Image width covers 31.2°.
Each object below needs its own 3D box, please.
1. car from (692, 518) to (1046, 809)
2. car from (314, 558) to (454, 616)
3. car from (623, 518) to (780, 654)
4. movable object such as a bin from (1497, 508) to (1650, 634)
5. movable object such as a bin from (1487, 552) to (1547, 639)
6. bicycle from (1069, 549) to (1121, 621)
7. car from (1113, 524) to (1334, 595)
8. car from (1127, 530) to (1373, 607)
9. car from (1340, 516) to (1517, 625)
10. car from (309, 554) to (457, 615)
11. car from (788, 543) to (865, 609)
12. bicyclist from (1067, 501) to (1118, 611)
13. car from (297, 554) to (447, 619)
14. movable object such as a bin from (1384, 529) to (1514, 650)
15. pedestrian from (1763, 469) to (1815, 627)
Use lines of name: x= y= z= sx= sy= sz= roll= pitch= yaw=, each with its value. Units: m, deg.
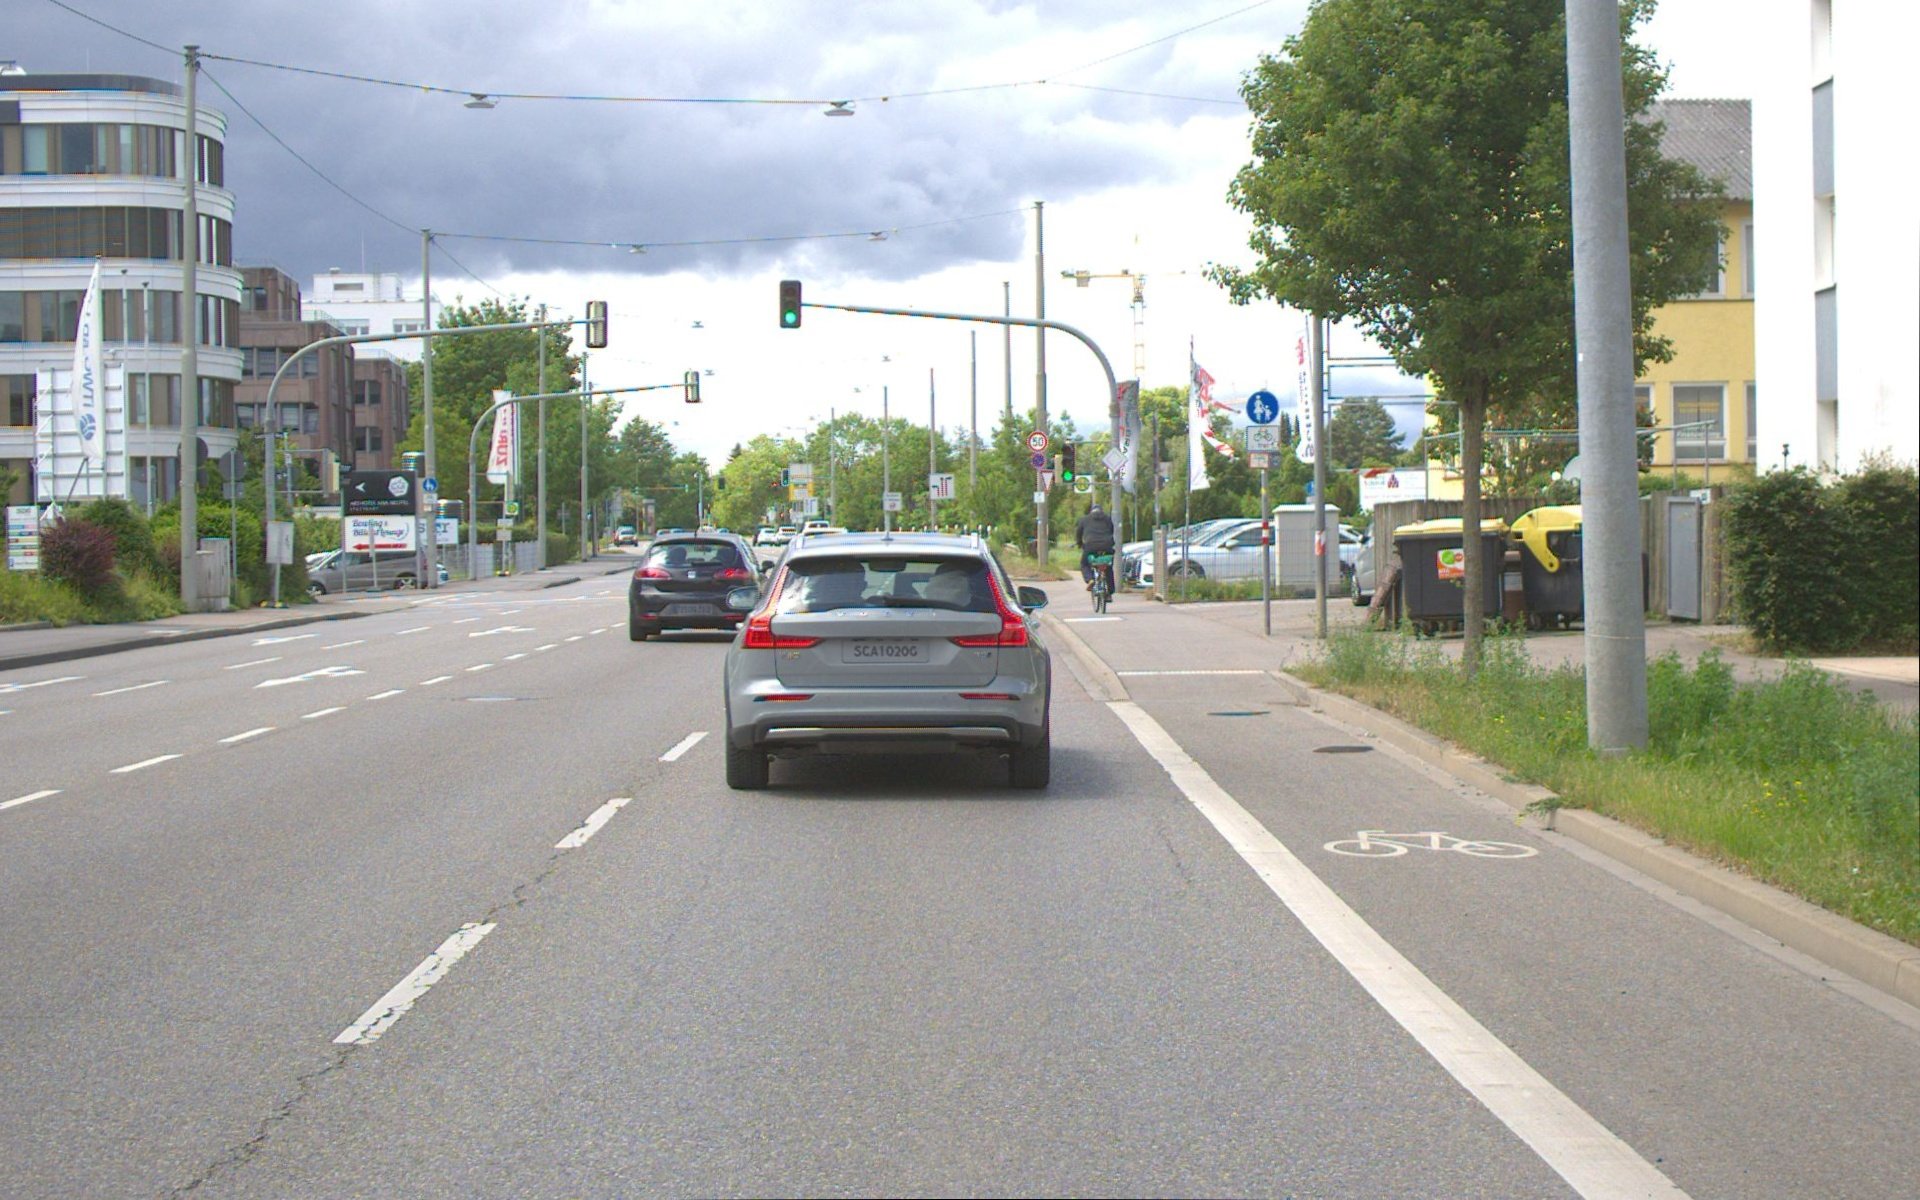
car: x=-0.473 y=0.347 z=20.746 sx=1.895 sy=1.549 sz=4.000 roll=1 pitch=0 yaw=1
car: x=-17.936 y=-0.399 z=107.223 sx=3.987 sy=1.365 sz=1.848 roll=-6 pitch=0 yaw=-3
car: x=-3.460 y=-0.182 z=46.598 sx=1.993 sy=1.711 sz=4.000 roll=1 pitch=0 yaw=-3
movable object such as a bin: x=7.133 y=-0.327 z=39.965 sx=1.322 sy=1.430 sz=1.248 roll=-1 pitch=-1 yaw=36
movable object such as a bin: x=6.595 y=-0.054 z=40.688 sx=0.567 sy=1.023 sz=0.405 roll=-1 pitch=-1 yaw=36
bicycle: x=2.097 y=-0.240 z=53.663 sx=0.638 sy=1.059 sz=1.977 roll=-4 pitch=1 yaw=0
car: x=5.897 y=-0.910 z=77.315 sx=4.800 sy=1.475 sz=2.032 roll=1 pitch=1 yaw=1
car: x=5.766 y=-0.643 z=68.776 sx=4.696 sy=1.488 sz=2.046 roll=0 pitch=1 yaw=-1
car: x=6.966 y=-0.464 z=51.572 sx=1.875 sy=1.540 sz=4.522 roll=-1 pitch=1 yaw=-2
car: x=-17.537 y=-0.457 z=104.682 sx=4.223 sy=1.382 sz=1.984 roll=-6 pitch=0 yaw=-6
car: x=-3.603 y=-0.633 z=93.187 sx=1.993 sy=1.689 sz=4.000 roll=1 pitch=0 yaw=-1
bicyclist: x=2.068 y=-0.690 z=53.662 sx=0.638 sy=1.670 sz=0.890 roll=-4 pitch=1 yaw=0
car: x=-16.995 y=-0.397 z=99.519 sx=4.092 sy=1.393 sz=1.909 roll=-6 pitch=2 yaw=-8
movable object such as a bin: x=5.663 y=-0.110 z=39.724 sx=1.320 sy=1.356 sz=1.250 roll=-1 pitch=-1 yaw=16
pedestrian: x=9.359 y=-0.581 z=38.806 sx=0.507 sy=1.759 sz=0.500 roll=1 pitch=0 yaw=16
